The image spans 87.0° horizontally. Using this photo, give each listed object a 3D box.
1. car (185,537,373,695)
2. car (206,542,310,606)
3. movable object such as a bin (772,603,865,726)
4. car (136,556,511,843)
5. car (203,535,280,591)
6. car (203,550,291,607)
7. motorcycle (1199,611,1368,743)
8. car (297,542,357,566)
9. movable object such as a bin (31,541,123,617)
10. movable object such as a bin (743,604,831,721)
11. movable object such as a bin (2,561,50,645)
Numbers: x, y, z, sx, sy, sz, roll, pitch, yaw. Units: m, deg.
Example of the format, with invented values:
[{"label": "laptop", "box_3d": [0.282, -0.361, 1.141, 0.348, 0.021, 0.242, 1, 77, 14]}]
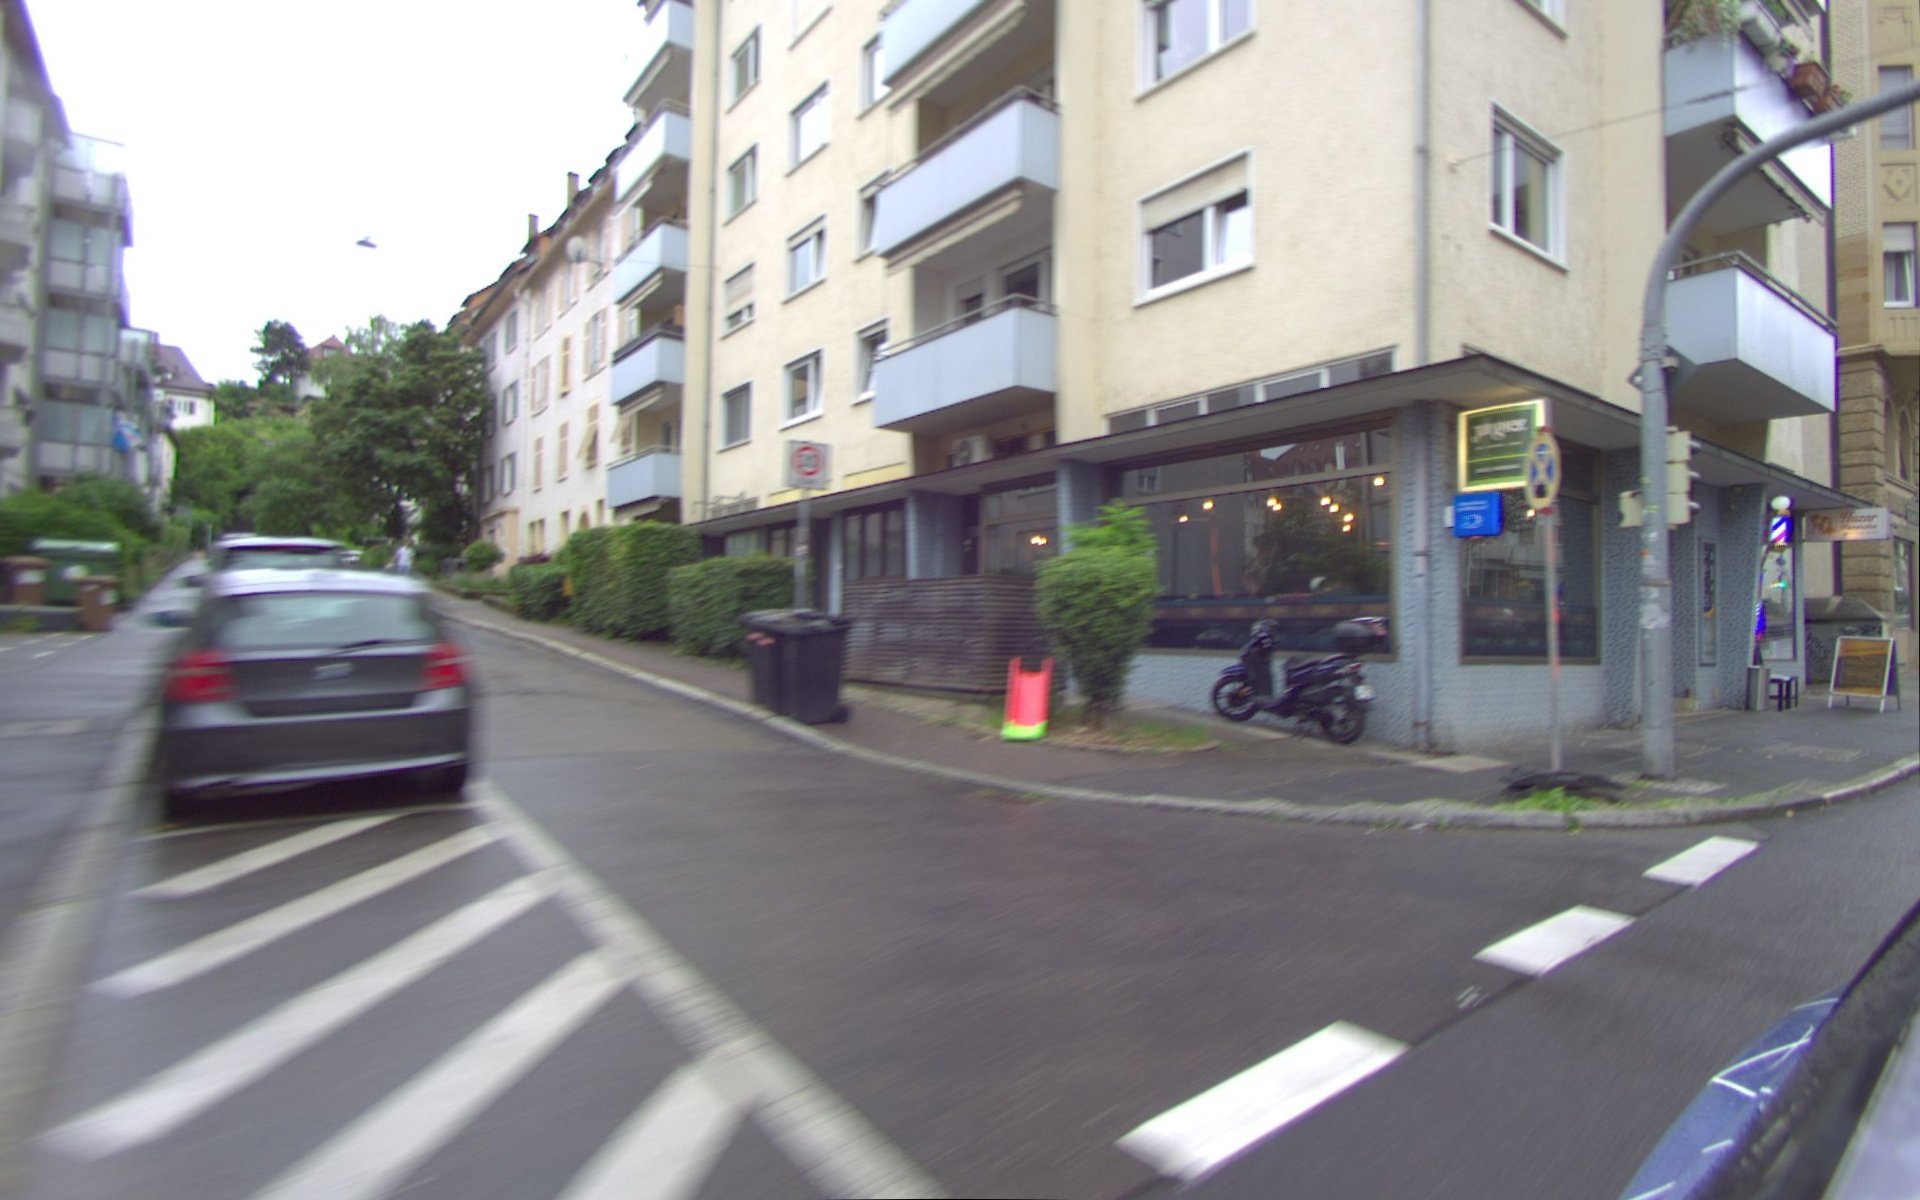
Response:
[{"label": "car", "box_3d": [-7.994, 0.092, 11.732, 1.442, 1.520, 3.996, -2, 2, -39]}, {"label": "car", "box_3d": [-17.257, -0.619, 24.850, 1.963, 1.433, 4.063, 0, 1, -36]}, {"label": "movable object such as a bin", "box_3d": [-1.450, 0.635, 10.382, 0.720, 1.195, 0.601, -1, 0, -41]}, {"label": "car", "box_3d": [-4.562, 0.434, 7.183, 1.728, 1.432, 4.000, 1, 2, -36]}, {"label": "car", "box_3d": [-23.714, -1.201, 33.402, 1.963, 1.712, 4.063, 0, 1, -36]}, {"label": "car", "box_3d": [-20.756, -0.617, 29.456, 1.963, 1.525, 4.063, 0, 1, -36]}, {"label": "motorcycle", "box_3d": [3.325, 0.748, 10.544, 0.588, 1.176, 1.650, -1, 3, -35]}, {"label": "car", "box_3d": [-45.413, -3.275, 72.685, 3.612, 1.649, 1.841, 0, 1, -31]}, {"label": "movable object such as a bin", "box_3d": [-17.781, -0.418, 20.428, 1.329, 1.483, 1.066, 0, 1, -38]}, {"label": "movable object such as a bin", "box_3d": [-1.853, 0.640, 10.857, 0.723, 1.188, 0.594, -1, 0, -41]}, {"label": "movable object such as a bin", "box_3d": [-17.753, 0.060, 19.252, 0.620, 1.546, 0.737, 1, -1, -41]}]
